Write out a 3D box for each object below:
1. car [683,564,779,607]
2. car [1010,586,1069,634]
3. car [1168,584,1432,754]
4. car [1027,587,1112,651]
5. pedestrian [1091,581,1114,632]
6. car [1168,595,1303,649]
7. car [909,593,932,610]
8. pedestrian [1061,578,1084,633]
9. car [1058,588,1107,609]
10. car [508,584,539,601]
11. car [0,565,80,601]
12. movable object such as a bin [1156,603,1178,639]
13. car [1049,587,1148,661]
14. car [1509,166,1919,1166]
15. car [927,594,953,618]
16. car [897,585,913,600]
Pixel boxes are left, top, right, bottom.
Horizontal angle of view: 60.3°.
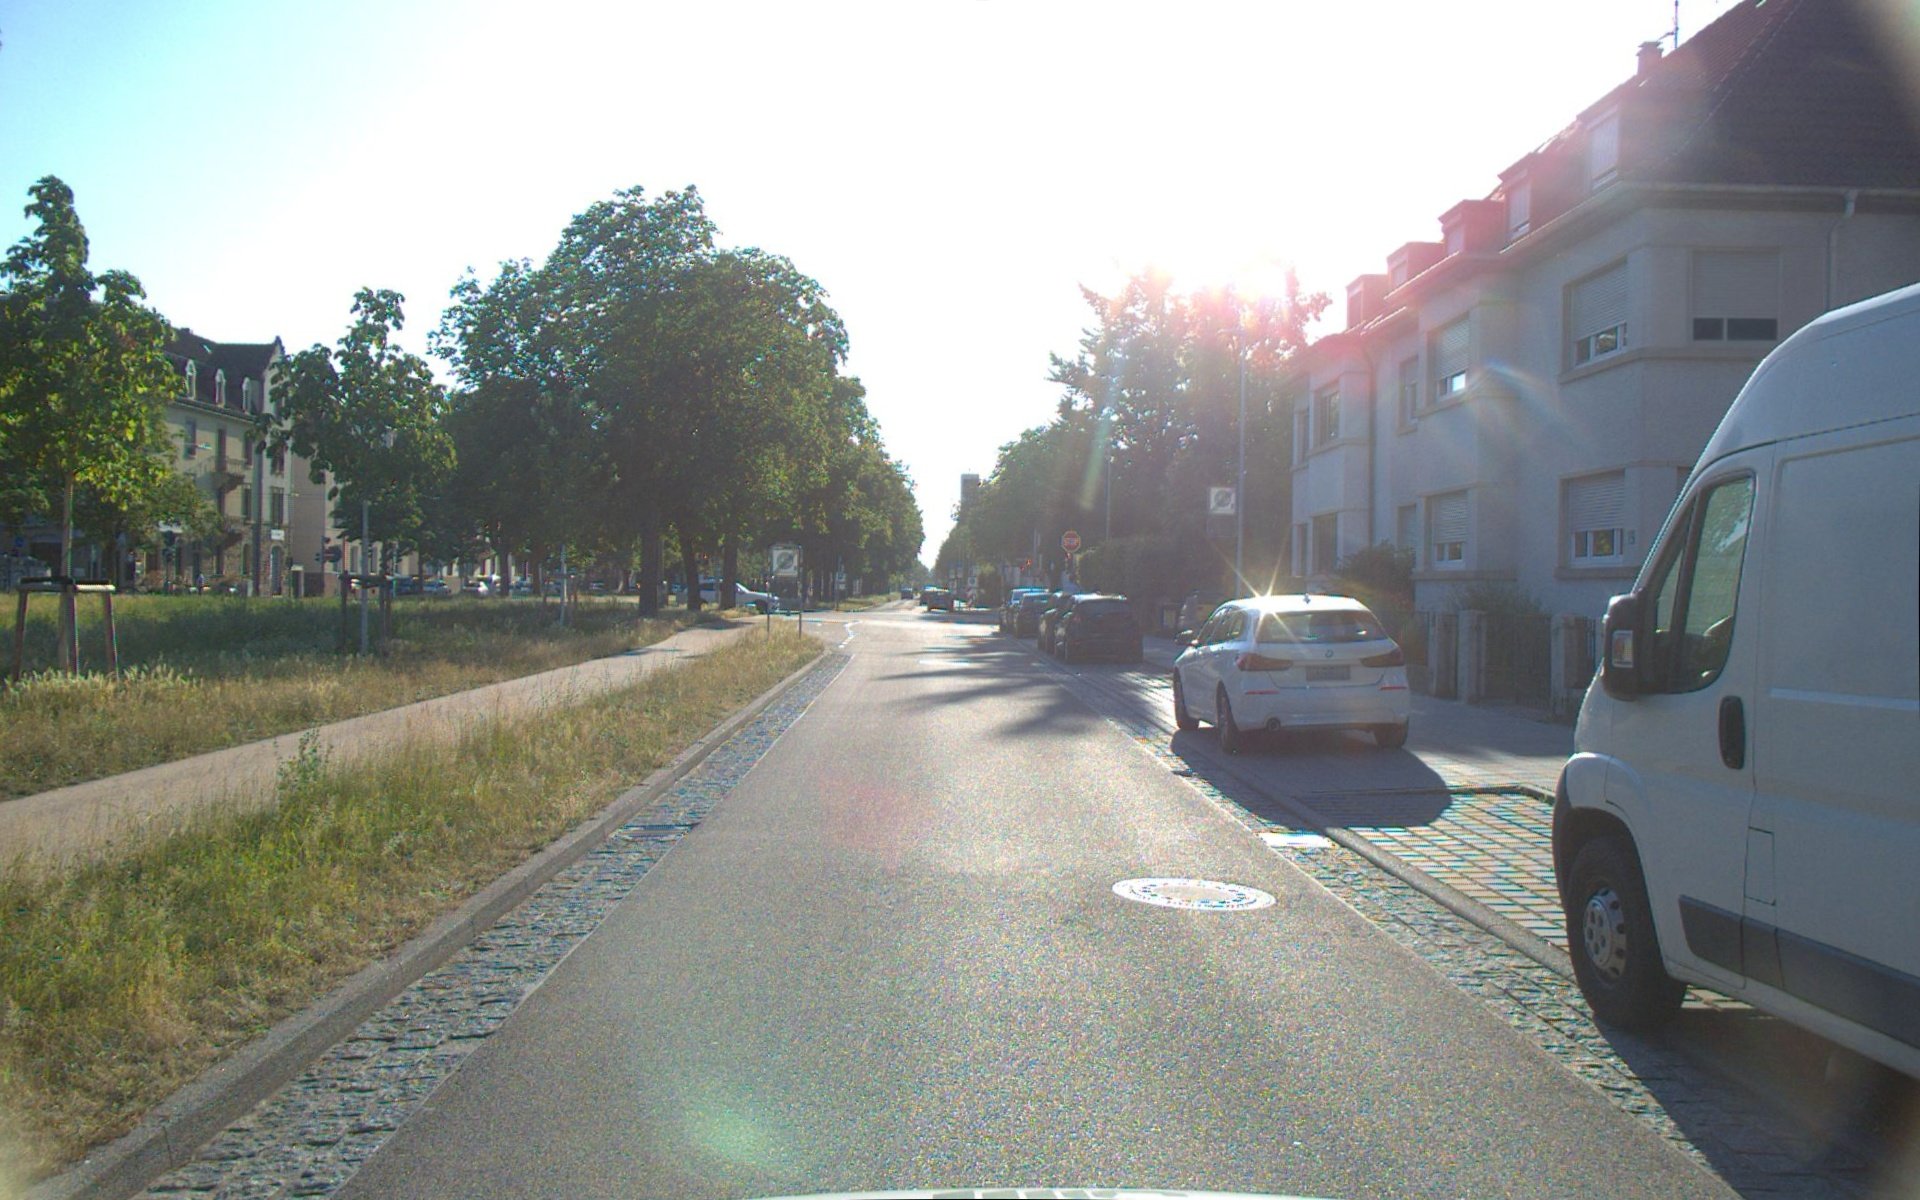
[{"bbox_3d":[-10.711,-0.659,77.497,4.329,1.705,1.893,4,0,-9],"label":"car"},{"bbox_3d":[2.510,0.306,52.905,1.608,1.452,3.935,0,0,-1],"label":"car"},{"bbox_3d":[3.383,0.608,17.250,1.747,1.533,4.232,0,0,-2],"label":"car"},{"bbox_3d":[2.715,0.447,41.819,1.711,1.500,4.254,1,0,-2],"label":"car"},{"bbox_3d":[5.019,0.228,58.219,0.656,1.738,0.622,2,0,-5],"label":"pedestrian"},{"bbox_3d":[7.921,0.618,47.754,3.560,1.522,1.781,0,0,-1],"label":"car"},{"bbox_3d":[-3.424,0.107,144.041,1.808,1.418,3.828,2,0,0],"label":"car"},{"bbox_3d":[3.943,0.182,58.195,0.657,1.898,0.881,2,0,-2],"label":"pedestrian"},{"bbox_3d":[9.679,-0.142,131.336,3.703,1.552,1.743,2,1,-1],"label":"car"},{"bbox_3d":[-38.966,-0.673,147.698,1.702,1.452,3.792,2,1,-1],"label":"car"},{"bbox_3d":[-41.216,-0.761,72.043,4.677,1.459,1.810,2,-1,-10],"label":"car"},{"bbox_3d":[6.238,0.637,49.828,0.498,1.061,0.658,2,0,-7],"label":"movable object such as a bin"},{"bbox_3d":[2.989,0.491,36.398,1.684,1.497,3.982,-1,0,-2],"label":"car"},{"bbox_3d":[3.506,0.184,4.330,2.086,2.562,5.506,2,0,-2],"label":"car"},{"bbox_3d":[-1.322,0.391,109.786,1.607,1.476,3.308,2,0,1],"label":"car"},{"bbox_3d":[-7.639,-1.037,229.708,2.090,2.049,3.901,2,0,0],"label":"car"}]
